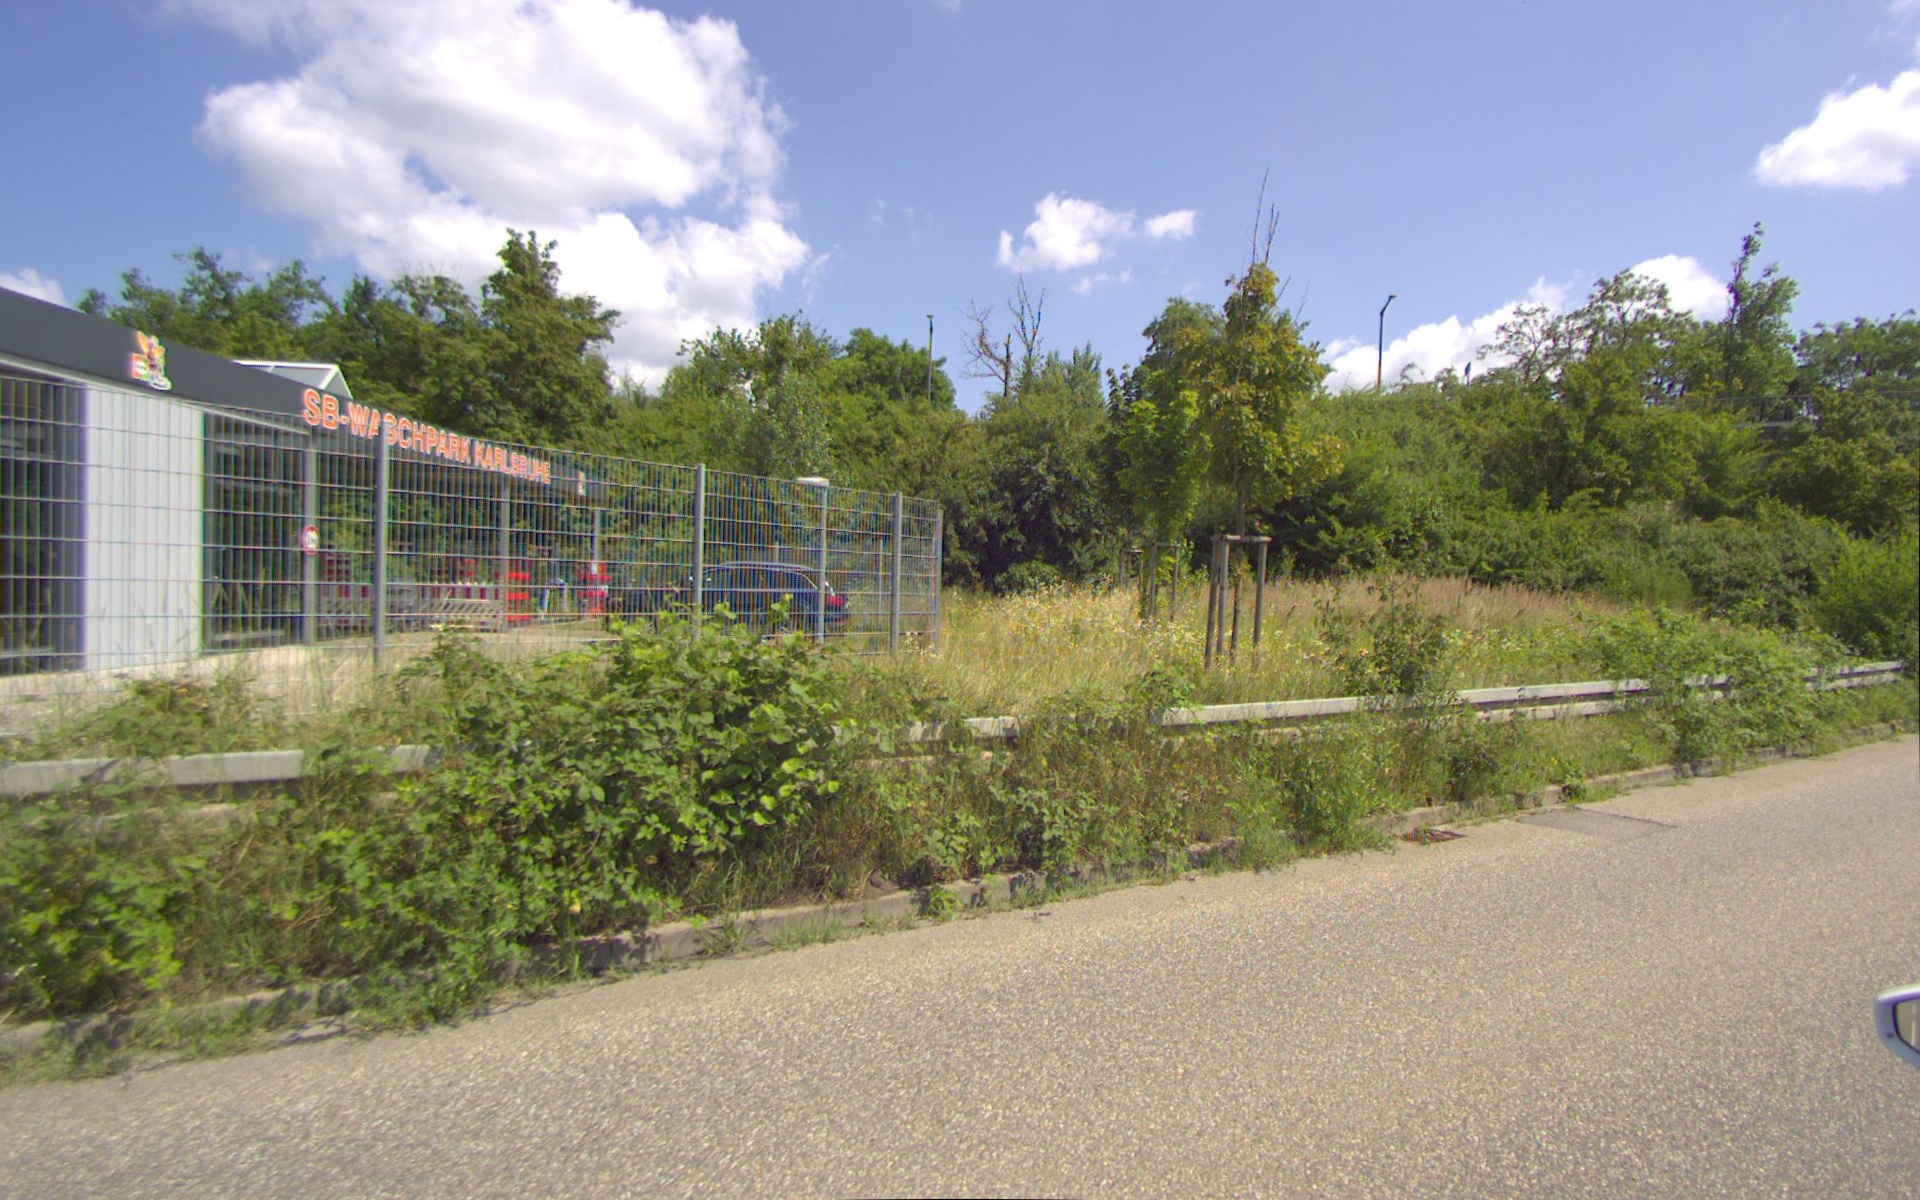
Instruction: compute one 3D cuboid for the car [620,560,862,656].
[{"bbox_3d":[-4.344,0.124,20.482,4.458,1.716,1.999,2,2,-2],"label":"car"}]
